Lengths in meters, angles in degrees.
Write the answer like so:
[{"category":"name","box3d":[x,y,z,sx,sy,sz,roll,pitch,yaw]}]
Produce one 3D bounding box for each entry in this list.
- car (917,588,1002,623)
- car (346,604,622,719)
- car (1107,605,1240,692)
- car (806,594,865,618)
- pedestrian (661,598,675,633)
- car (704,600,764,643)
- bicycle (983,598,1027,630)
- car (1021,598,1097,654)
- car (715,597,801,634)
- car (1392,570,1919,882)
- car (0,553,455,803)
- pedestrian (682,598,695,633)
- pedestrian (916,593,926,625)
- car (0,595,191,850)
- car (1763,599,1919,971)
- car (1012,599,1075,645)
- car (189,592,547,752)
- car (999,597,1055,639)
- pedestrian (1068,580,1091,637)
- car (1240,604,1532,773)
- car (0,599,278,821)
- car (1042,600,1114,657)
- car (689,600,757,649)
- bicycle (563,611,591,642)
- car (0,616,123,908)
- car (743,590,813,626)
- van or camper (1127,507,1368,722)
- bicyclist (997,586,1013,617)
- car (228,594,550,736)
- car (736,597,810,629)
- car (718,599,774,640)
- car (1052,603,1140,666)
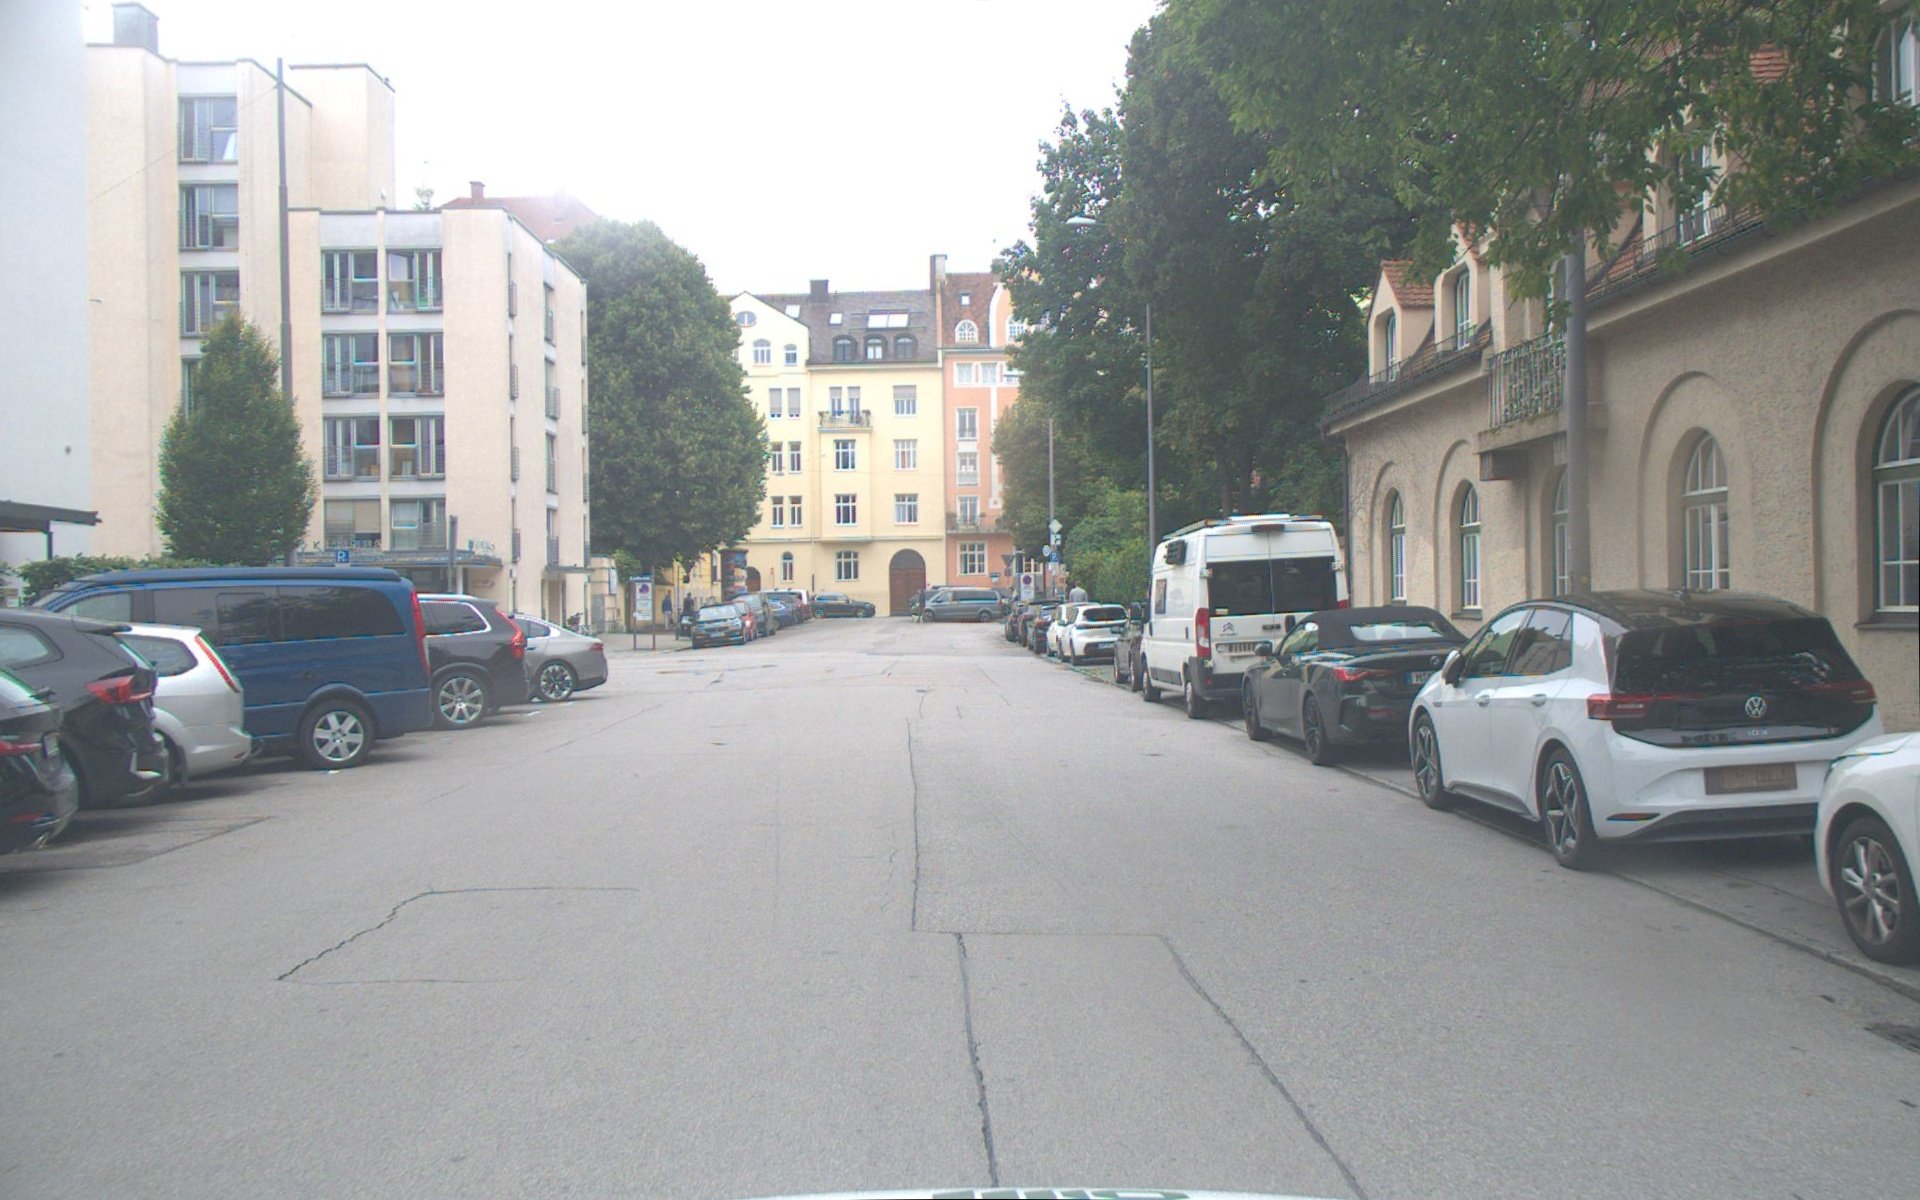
[{"category":"car","box3d":[-0.040,0.310,91.575,4.610,1.913,1.839,0,0,-3]},{"category":"car","box3d":[-7.911,0.978,27.612,4.070,1.637,1.717,-3,0,-34]},{"category":"car","box3d":[3.786,0.819,29.941,1.673,1.393,4.128,-2,0,-2]},{"category":"car","box3d":[-8.576,0.417,113.840,3.905,1.614,1.703,-1,0,0]},{"category":"pedestrian","box3d":[-14.313,0.753,81.046,0.559,1.686,0.464,-1,0,-1]},{"category":"car","box3d":[-8.854,0.820,65.114,1.797,1.534,3.999,-4,0,-1]},{"category":"bicycle","box3d":[2.214,0.695,81.885,2.172,1.537,0.655,0,0,-2]},{"category":"car","box3d":[3.018,0.760,51.111,1.768,1.491,3.834,-2,2,-5]},{"category":"car","box3d":[-9.906,0.767,81.278,3.907,1.534,1.839,-4,0,-2]},{"category":"car","box3d":[4.295,0.664,10.889,1.672,1.564,4.239,-3,0,-1]},{"category":"car","box3d":[-7.314,0.677,16.264,4.162,2.102,1.719,-3,0,-31]},{"category":"pedestrian","box3d":[-13.290,0.747,80.966,0.559,1.686,0.464,-1,0,-1]},{"category":"pedestrian","box3d":[-2.057,0.458,87.576,0.454,1.686,0.572,-1,0,-7]},{"category":"car","box3d":[-7.554,0.876,11.228,4.155,1.637,1.722,-3,0,-27]},{"category":"car","box3d":[4.632,0.709,5.757,1.651,1.466,3.999,-2,0,-1]},{"category":"car","box3d":[2.819,0.720,56.545,1.637,1.367,3.835,-2,2,-4]},{"category":"car","box3d":[-7.623,0.863,21.401,4.067,1.738,1.718,-3,0,-32]},{"category":"car","box3d":[2.455,0.639,61.457,1.637,1.367,3.835,-2,2,-4]},{"category":"pedestrian","box3d":[4.358,0.312,60.535,0.757,2.049,0.562,-1,0,-2]},{"category":"car","box3d":[4.106,0.773,16.678,1.673,1.393,4.439,-2,0,-1]},{"category":"car","box3d":[-7.920,0.904,13.455,4.162,1.637,1.719,-3,0,-31]},{"category":"car","box3d":[3.312,0.777,46.826,1.672,1.491,3.837,-2,0,-1]},{"category":"car","box3d":[-8.438,0.848,59.171,1.797,1.534,3.999,-4,0,-1]},{"category":"bicycle","box3d":[-14.704,0.998,63.536,0.625,1.169,2.423,0,0,-3]},{"category":"car","box3d":[-6.815,0.920,8.671,4.147,1.487,1.725,-3,0,-23]},{"category":"car","box3d":[-10.757,0.462,98.008,3.907,1.830,1.839,-4,0,-2]},{"category":"van or camper","box3d":[3.883,0.179,23.539,2.148,2.594,5.726,-2,0,-2]},{"category":"bicyclist","box3d":[2.227,0.081,81.885,0.750,1.537,0.655,0,0,-2]},{"category":"car","box3d":[-8.172,0.878,23.768,4.067,1.738,1.718,-3,0,-32]},{"category":"car","box3d":[-10.524,0.711,93.224,3.907,1.534,1.839,-4,0,-2]},{"category":"car","box3d":[-9.029,0.797,70.008,1.797,1.534,3.999,-4,0,-1]},{"category":"car","box3d":[3.395,0.829,41.885,1.673,1.432,4.128,-2,0,-2]}]
